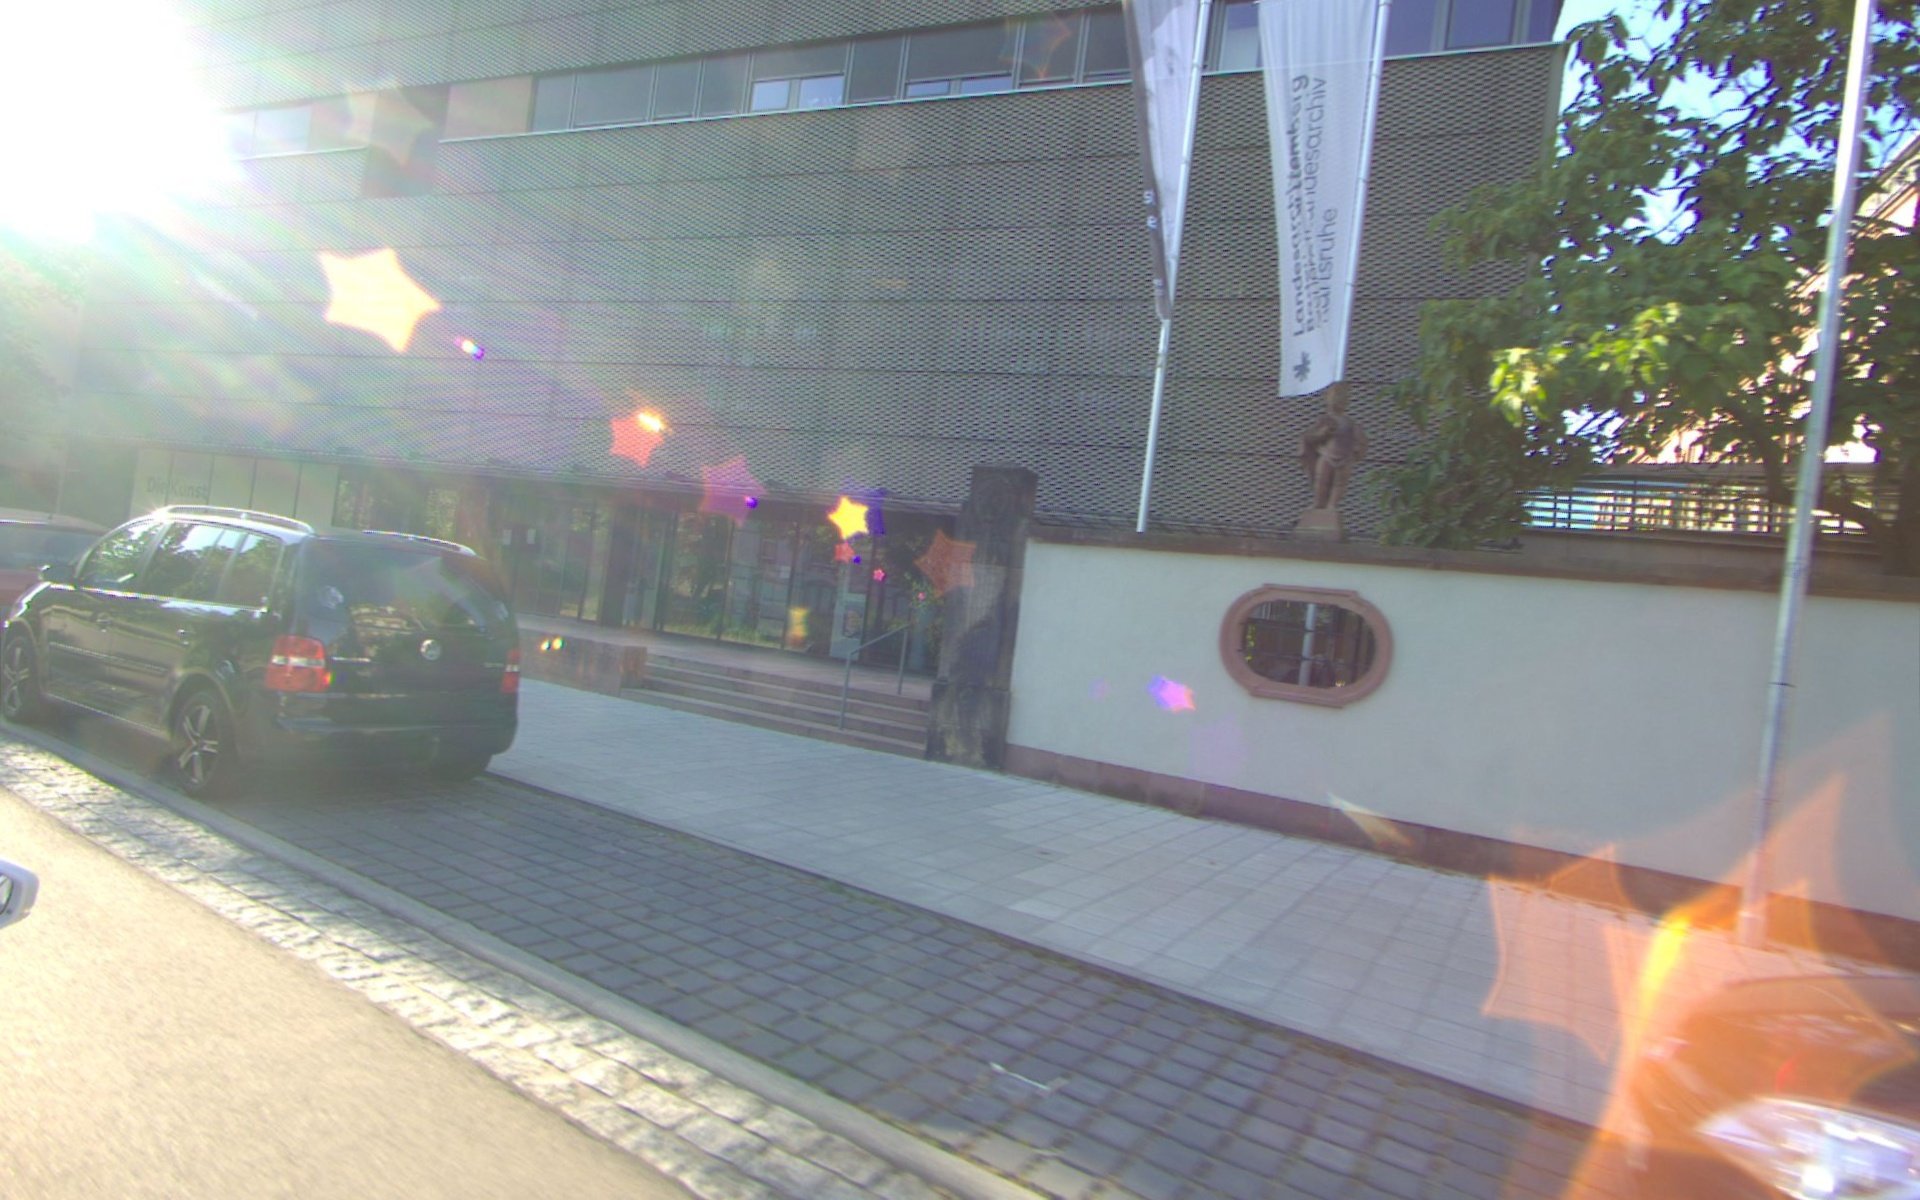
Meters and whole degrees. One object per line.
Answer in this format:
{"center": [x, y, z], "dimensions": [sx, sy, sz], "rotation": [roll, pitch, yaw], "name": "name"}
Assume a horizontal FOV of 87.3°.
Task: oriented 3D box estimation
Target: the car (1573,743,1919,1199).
{"center": [3.669, 1.357, 1.656], "dimensions": [4.404, 1.483, 1.751], "rotation": [6, -2, 32], "name": "car"}

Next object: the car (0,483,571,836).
{"center": [-4.861, 0.260, 7.017], "dimensions": [4.044, 1.689, 1.727], "rotation": [7, 0, 30], "name": "car"}

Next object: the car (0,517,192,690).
{"center": [-9.648, -0.090, 10.103], "dimensions": [3.841, 1.438, 1.727], "rotation": [7, -1, 32], "name": "car"}
